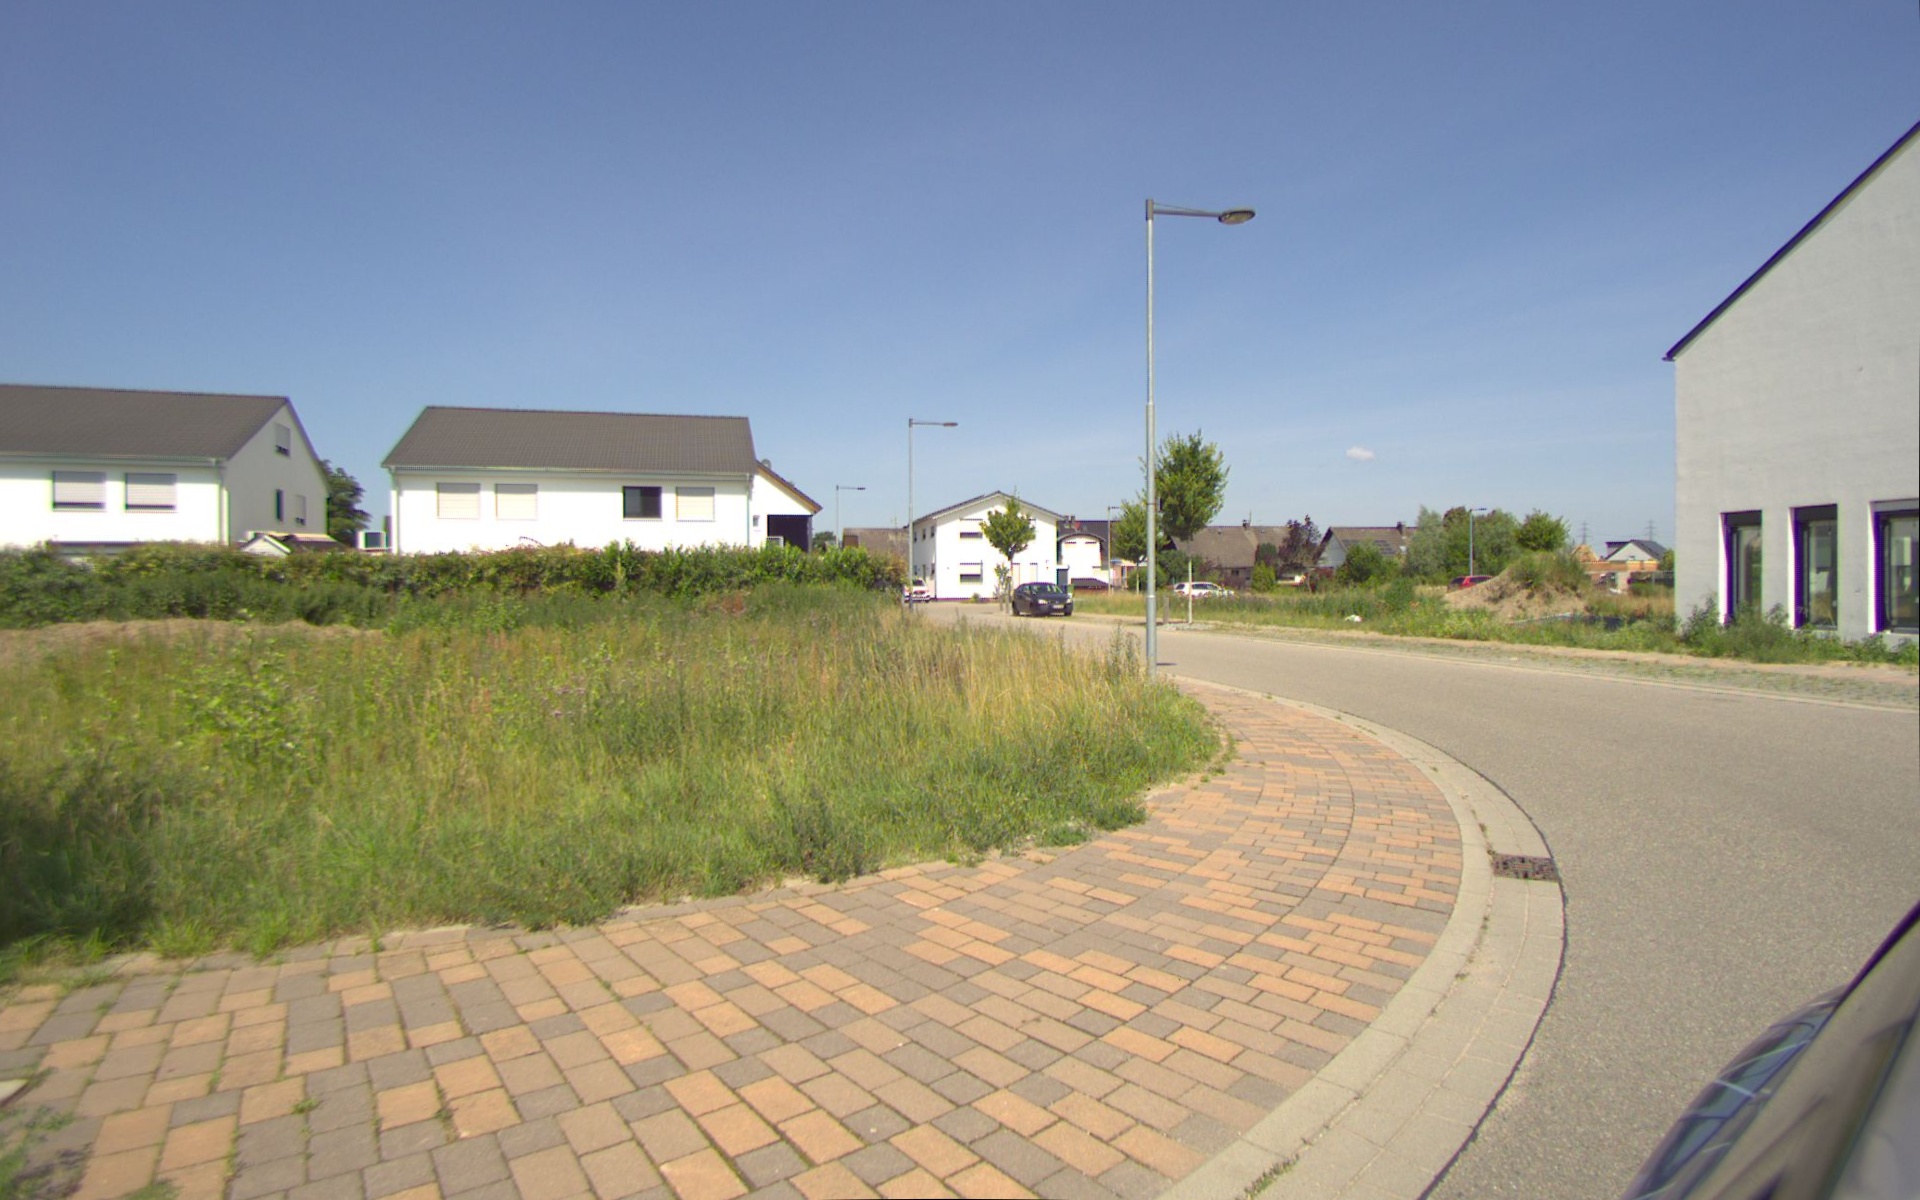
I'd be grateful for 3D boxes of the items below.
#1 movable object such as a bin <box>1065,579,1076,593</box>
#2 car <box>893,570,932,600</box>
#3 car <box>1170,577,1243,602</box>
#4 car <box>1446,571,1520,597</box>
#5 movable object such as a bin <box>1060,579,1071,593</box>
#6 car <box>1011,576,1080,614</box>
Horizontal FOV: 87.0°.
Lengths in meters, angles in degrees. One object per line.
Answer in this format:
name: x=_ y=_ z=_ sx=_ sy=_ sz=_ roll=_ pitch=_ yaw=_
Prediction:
movable object such as a bin: x=8.291 y=-1.035 z=75.838 sx=0.671 sy=1.017 sz=0.742 roll=0 pitch=1 yaw=-10
car: x=-3.285 y=-1.013 z=69.493 sx=1.818 sy=1.908 sz=4.568 roll=-2 pitch=1 yaw=-13
car: x=14.991 y=-0.647 z=61.587 sx=3.918 sy=1.521 sz=1.812 roll=-1 pitch=1 yaw=-7
car: x=33.511 y=-1.038 z=64.895 sx=3.917 sy=1.636 sz=1.813 roll=-1 pitch=1 yaw=-11
movable object such as a bin: x=7.976 y=-1.052 z=76.612 sx=0.671 sy=1.017 sz=0.742 roll=0 pitch=1 yaw=-10
car: x=3.652 y=-0.242 z=43.916 sx=1.780 sy=1.472 sz=4.152 roll=-3 pitch=1 yaw=-13
